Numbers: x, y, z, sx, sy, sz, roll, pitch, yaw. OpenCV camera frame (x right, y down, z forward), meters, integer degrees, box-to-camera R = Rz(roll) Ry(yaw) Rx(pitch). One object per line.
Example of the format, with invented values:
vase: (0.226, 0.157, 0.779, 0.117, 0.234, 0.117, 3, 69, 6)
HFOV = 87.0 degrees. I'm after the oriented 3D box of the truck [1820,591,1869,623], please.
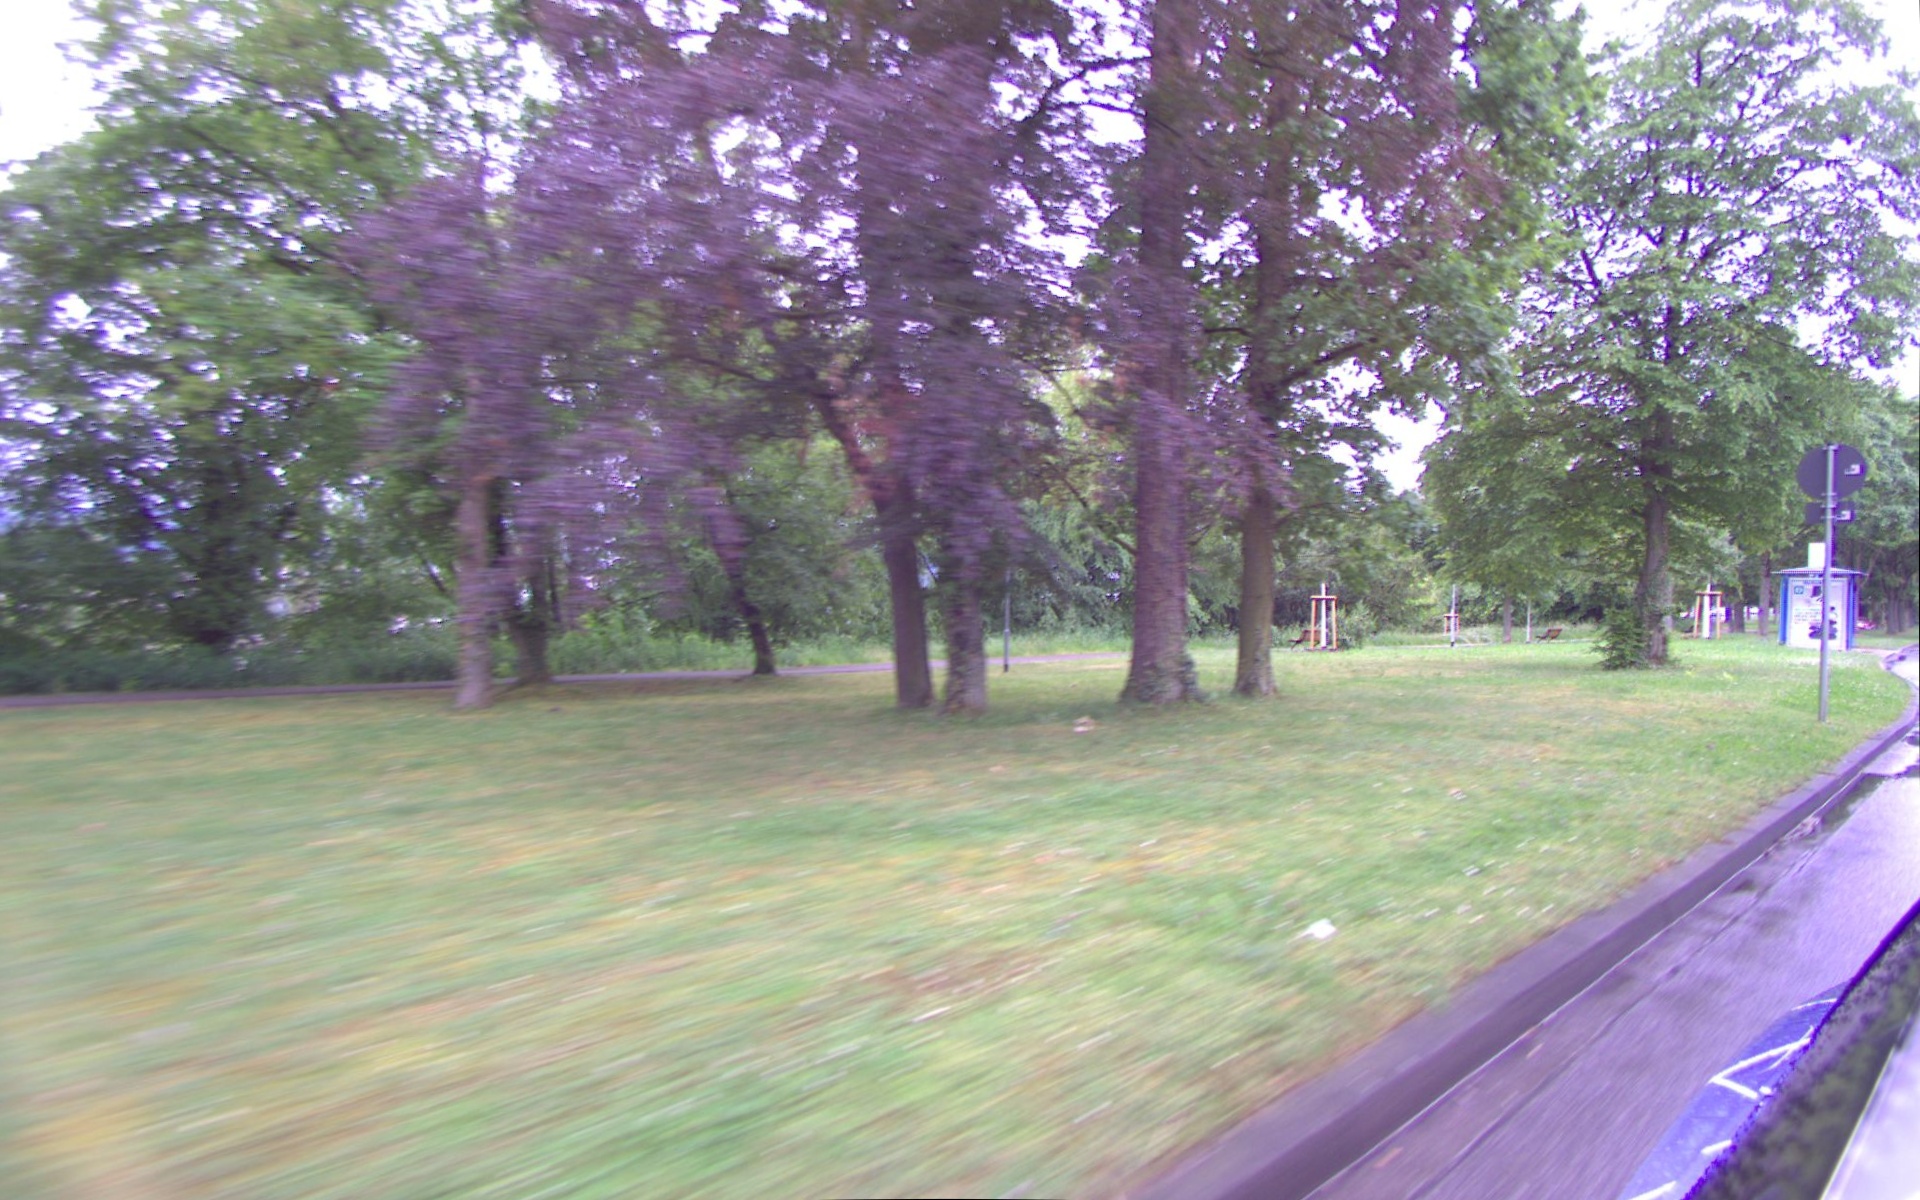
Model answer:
truck: (89.268, 0.680, 102.223, 2.122, 3.084, 5.129, 0, 0, 22)
